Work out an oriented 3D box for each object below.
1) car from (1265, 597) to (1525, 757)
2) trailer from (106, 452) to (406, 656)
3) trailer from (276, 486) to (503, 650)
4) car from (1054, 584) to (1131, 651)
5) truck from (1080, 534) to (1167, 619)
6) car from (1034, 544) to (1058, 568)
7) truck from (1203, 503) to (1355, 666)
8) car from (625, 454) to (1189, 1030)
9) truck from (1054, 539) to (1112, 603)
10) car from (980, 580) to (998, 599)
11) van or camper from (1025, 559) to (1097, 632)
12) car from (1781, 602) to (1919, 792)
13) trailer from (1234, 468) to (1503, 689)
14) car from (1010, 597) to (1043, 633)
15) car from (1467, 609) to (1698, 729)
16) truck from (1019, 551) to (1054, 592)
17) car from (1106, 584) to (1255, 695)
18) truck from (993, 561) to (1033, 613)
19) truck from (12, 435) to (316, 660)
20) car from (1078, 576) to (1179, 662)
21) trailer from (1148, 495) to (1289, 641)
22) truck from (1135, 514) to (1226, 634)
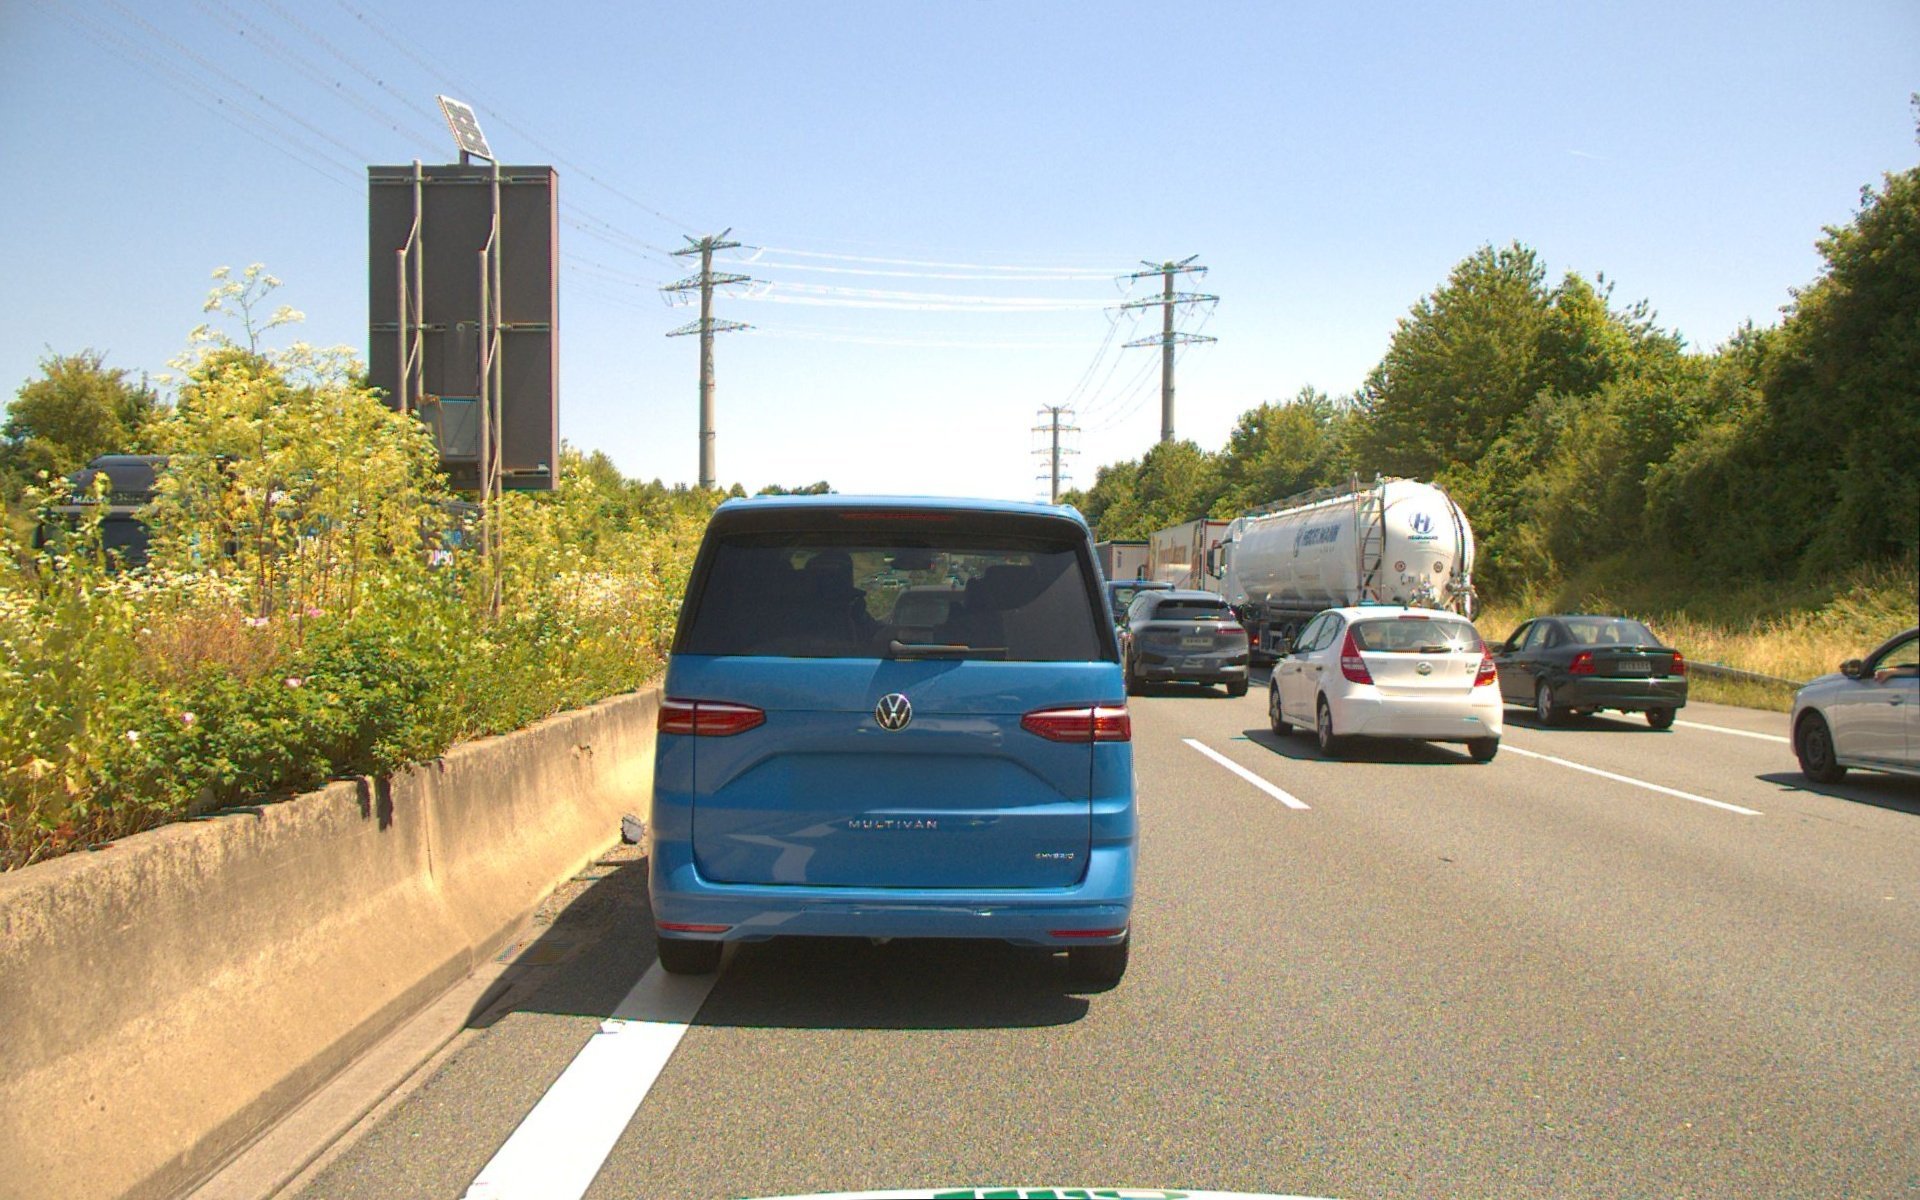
[{"bbox_3d":[4.493,0.755,17.677,1.779,1.511,4.000,0,-1,1],"label":"car"},{"bbox_3d":[-14.499,-0.860,34.923,3.061,3.825,7.868,0,0,-1],"label":"trailer"},{"bbox_3d":[-14.544,-0.760,43.000,3.118,3.827,8.199,0,0,-1],"label":"trailer"},{"bbox_3d":[4.087,0.546,51.619,1.885,1.959,4.233,-1,-1,-2],"label":"car"},{"bbox_3d":[7.992,-1.010,83.016,2.944,3.832,15.712,0,0,0],"label":"truck"},{"bbox_3d":[7.698,-3.964,148.872,1.953,2.049,4.000,0,0,0],"label":"car"},{"bbox_3d":[8.060,-0.376,42.471,2.736,3.903,5.571,0,0,-1],"label":"truck"},{"bbox_3d":[-0.187,0.478,7.638,1.881,1.919,4.000,1,0,0],"label":"car"},{"bbox_3d":[7.843,-1.765,107.194,2.836,3.832,13.344,0,0,0],"label":"truck"},{"bbox_3d":[3.326,-1.186,192.952,1.953,2.163,3.999,0,0,-1],"label":"car"},{"bbox_3d":[4.396,-0.186,73.490,2.896,3.075,7.103,0,0,1],"label":"van or camper"},{"bbox_3d":[8.427,0.775,13.229,1.695,1.468,4.028,0,1,-1],"label":"car"},{"bbox_3d":[8.194,-0.384,35.094,2.705,3.912,11.484,0,0,-1],"label":"trailer"},{"bbox_3d":[3.827,0.868,95.957,1.798,2.033,4.000,-1,-1,1],"label":"car"},{"bbox_3d":[8.293,0.875,22.399,1.607,1.441,3.988,-1,-1,0],"label":"car"},{"bbox_3d":[8.864,-3.260,192.908,3.494,4.596,10.291,0,0,-1],"label":"truck"},{"bbox_3d":[3.676,0.650,28.376,1.958,1.745,4.625,0,-1,0],"label":"car"},{"bbox_3d":[4.008,-0.916,127.370,2.836,3.832,10.140,0,0,0],"label":"truck"},{"bbox_3d":[-14.412,-0.885,30.467,3.009,3.774,5.462,0,0,-1],"label":"truck"},{"bbox_3d":[4.059,0.476,40.501,1.885,1.959,4.233,-1,-1,-2],"label":"car"},{"bbox_3d":[8.739,-1.005,57.616,2.853,4.547,12.151,0,0,-1],"label":"trailer"},{"bbox_3d":[8.646,-0.989,65.416,2.853,4.547,5.141,0,0,-1],"label":"truck"}]
